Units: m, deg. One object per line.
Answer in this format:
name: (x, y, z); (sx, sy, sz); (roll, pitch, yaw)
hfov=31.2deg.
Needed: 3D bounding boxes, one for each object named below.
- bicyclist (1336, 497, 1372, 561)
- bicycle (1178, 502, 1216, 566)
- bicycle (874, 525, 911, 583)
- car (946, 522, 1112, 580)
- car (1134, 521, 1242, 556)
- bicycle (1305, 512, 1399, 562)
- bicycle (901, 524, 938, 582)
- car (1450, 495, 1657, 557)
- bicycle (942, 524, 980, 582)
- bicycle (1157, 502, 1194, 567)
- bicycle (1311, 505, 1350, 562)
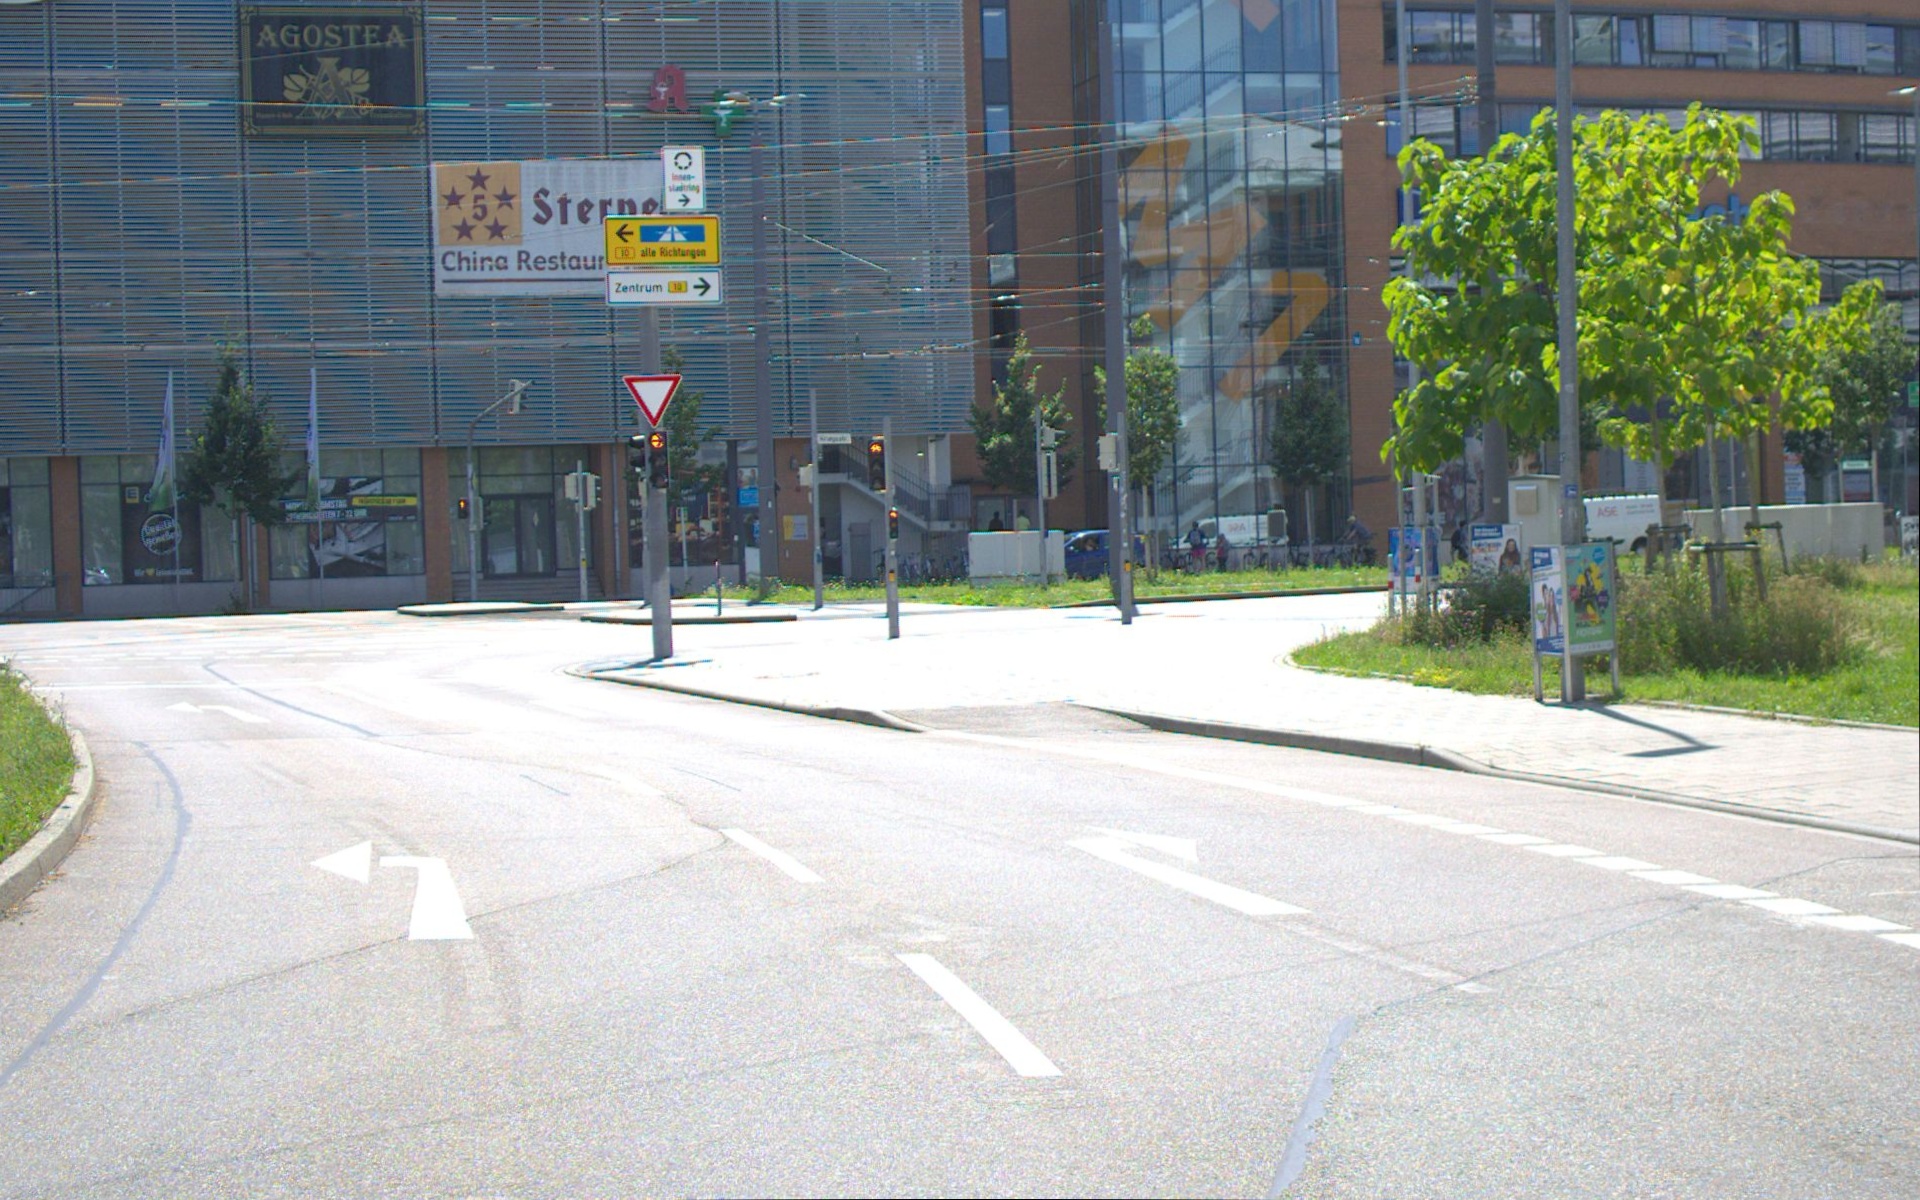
bicyclist: (12.413, -2.237, 108.194); (0.912, 2.007, 0.748); (-1, 1, -14)
bicycle: (7.433, -2.075, 107.822); (0.484, 2.007, 2.347); (-1, 1, -14)
bicycle: (-2.064, -1.402, 104.191); (0.598, 1.725, 2.261); (-1, 1, -15)
car: (1.797, -1.293, 89.834); (3.986, 1.437, 1.744); (-1, 1, -17)
car: (6.929, -1.863, 104.608); (2.992, 1.032, 1.350); (-1, 1, -18)
bicycle: (12.328, -1.986, 108.179); (2.848, 1.552, 0.705); (-1, 1, -13)
bicycle: (-1.238, -1.431, 104.394); (0.598, 1.725, 2.261); (-1, 1, -15)
car: (16.649, -2.081, 96.357); (5.461, 1.662, 2.001); (-1, 1, -21)
bicycle: (0.021, -1.437, 104.260); (0.598, 1.725, 2.261); (-1, 1, -15)
bicycle: (6.736, -2.058, 107.650); (0.484, 2.007, 2.347); (-1, 1, -14)
bicycle: (11.746, -2.102, 108.908); (0.484, 1.790, 2.260); (-1, 1, -14)
